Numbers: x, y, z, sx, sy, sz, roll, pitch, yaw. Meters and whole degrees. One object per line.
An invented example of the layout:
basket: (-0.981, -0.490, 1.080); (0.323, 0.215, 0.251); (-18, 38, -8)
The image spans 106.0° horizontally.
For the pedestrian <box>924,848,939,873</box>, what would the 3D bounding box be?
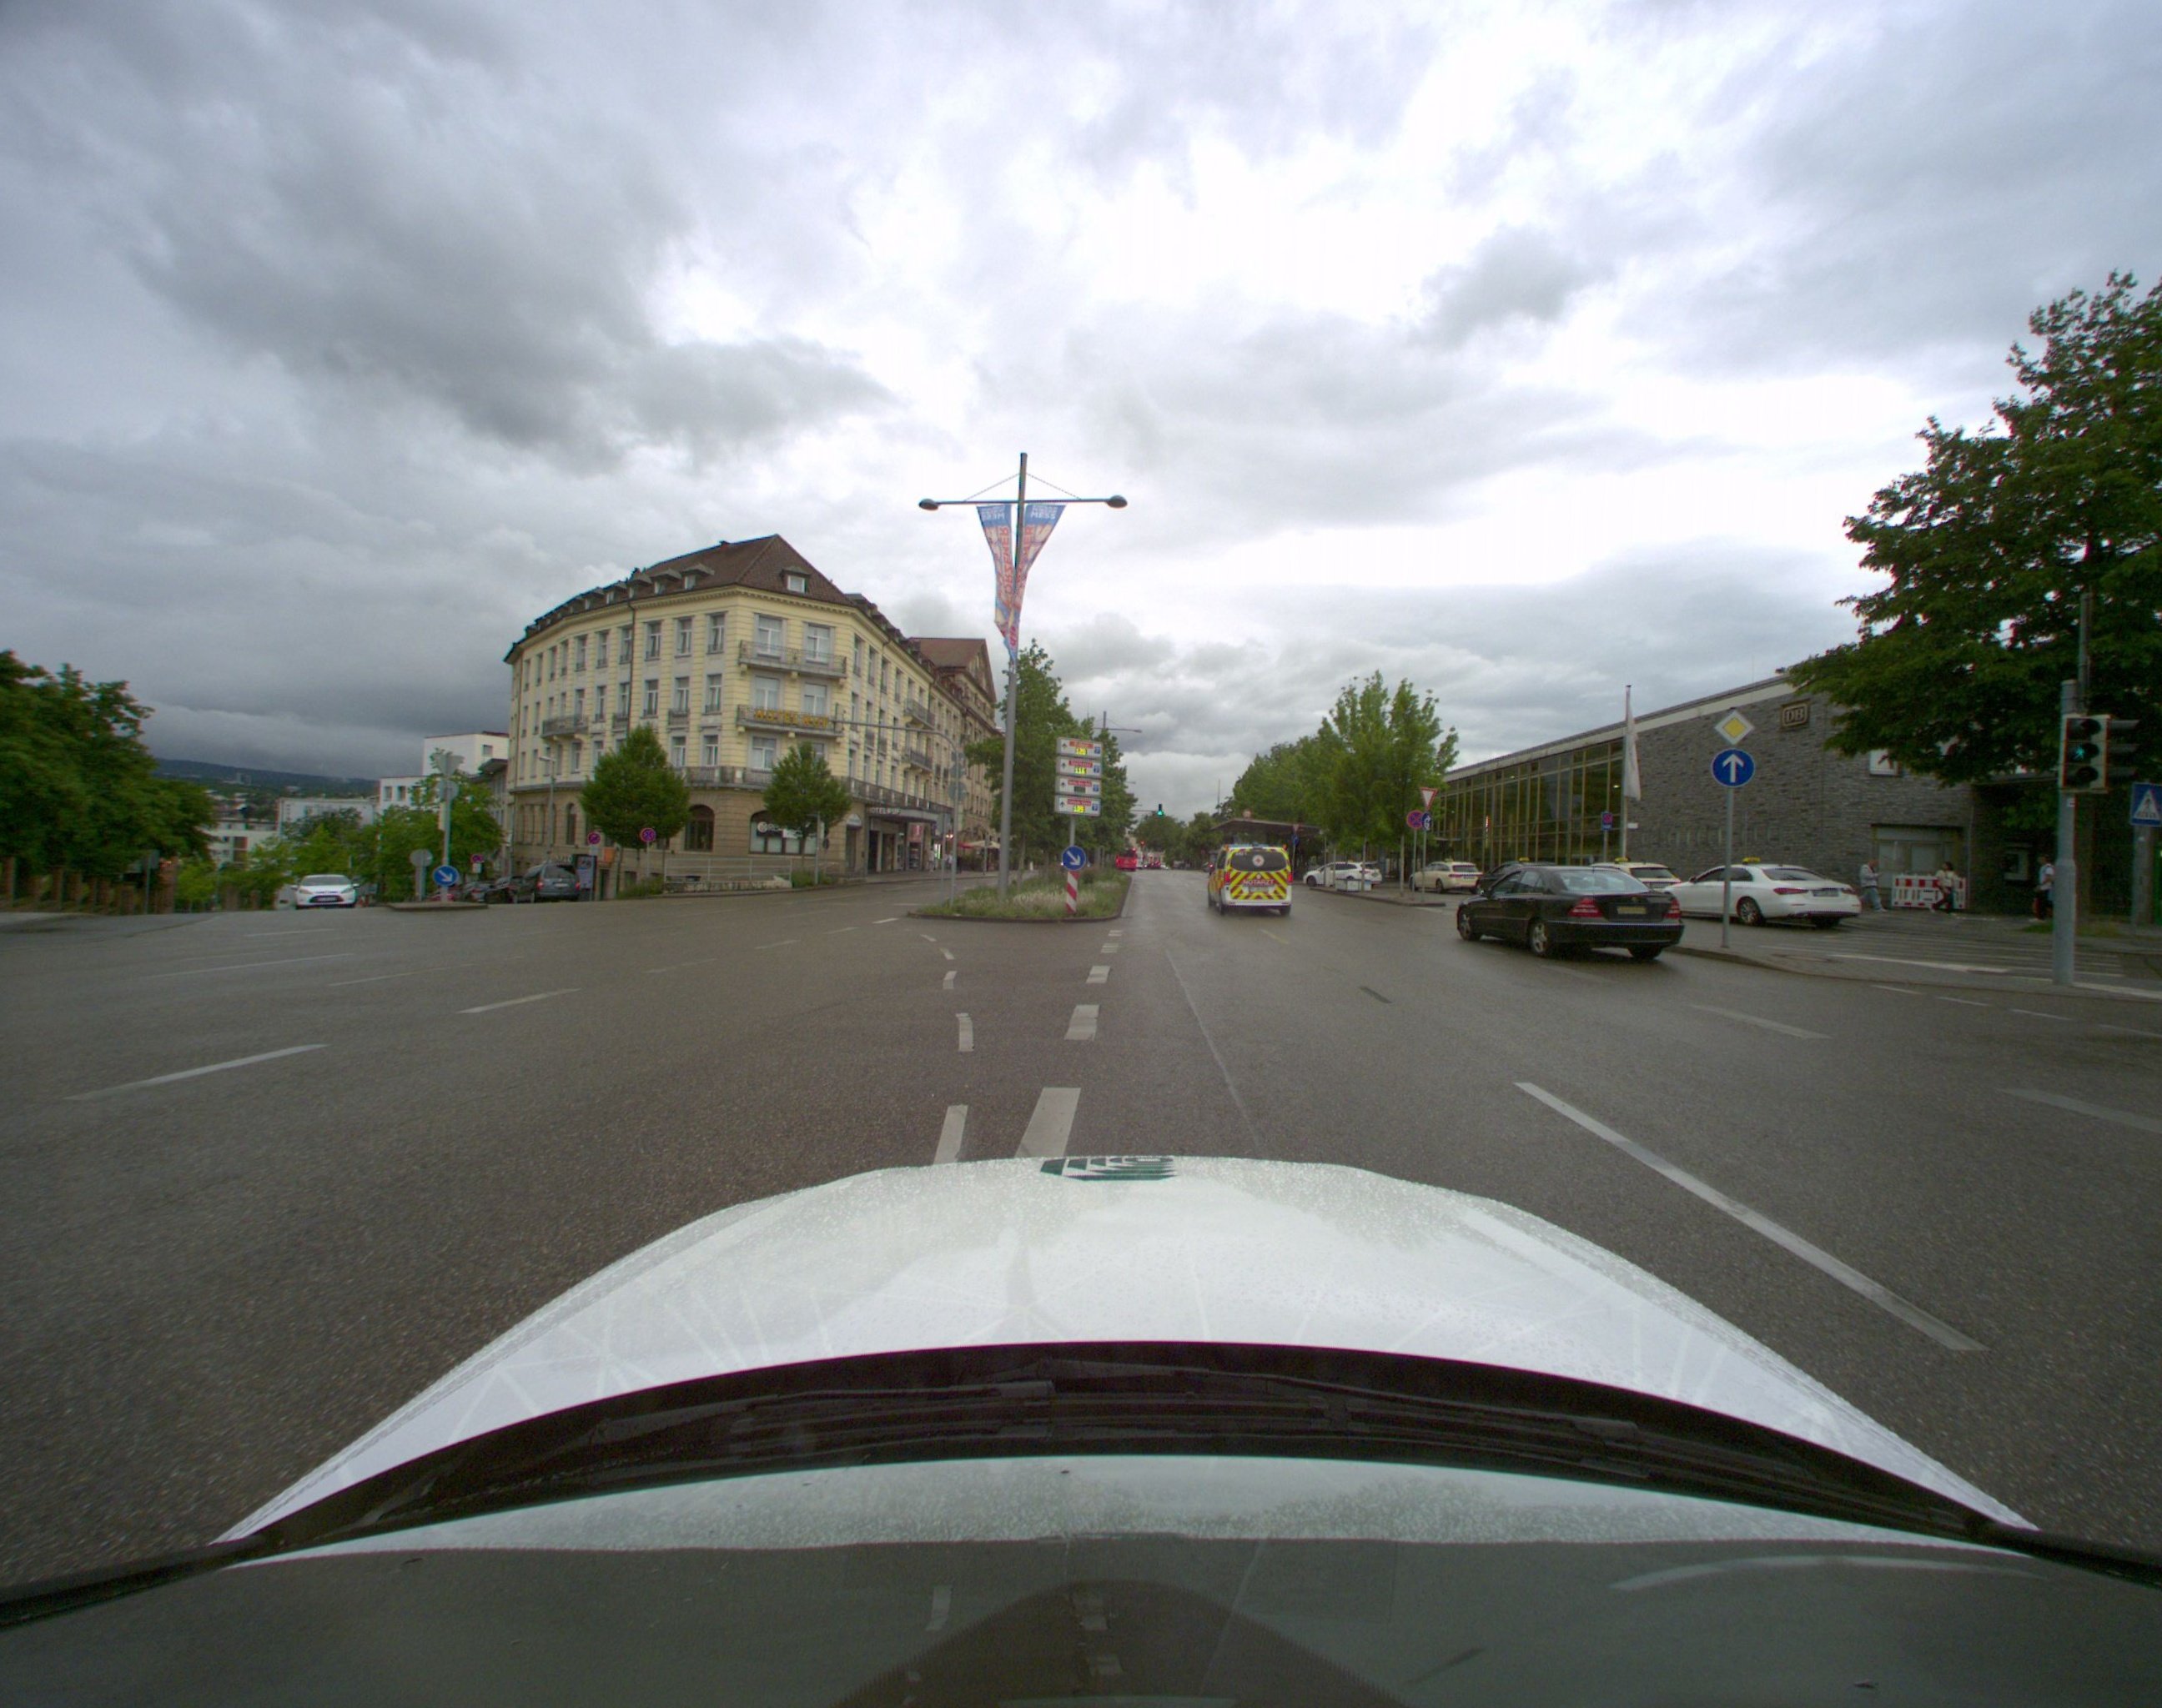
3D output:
pedestrian: (-11.002, 0.472, 59.880); (0.875, 1.813, 0.751); (0, -1, 4)

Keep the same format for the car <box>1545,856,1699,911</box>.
car: (17.131, 0.869, 26.147); (1.984, 1.599, 4.964); (0, 0, 5)

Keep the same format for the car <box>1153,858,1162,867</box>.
car: (17.266, 1.978, 183.283); (1.984, 2.014, 4.005); (0, -1, 5)

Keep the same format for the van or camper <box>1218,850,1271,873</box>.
van or camper: (19.481, 0.874, 97.057); (5.972, 2.763, 2.182); (0, -1, -23)

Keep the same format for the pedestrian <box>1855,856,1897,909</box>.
pedestrian: (23.983, 0.856, 24.579); (0.701, 1.580, 0.776); (-1, -1, 30)

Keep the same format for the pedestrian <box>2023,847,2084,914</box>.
pedestrian: (24.816, 0.669, 20.786); (0.645, 1.667, 0.772); (0, -2, -18)

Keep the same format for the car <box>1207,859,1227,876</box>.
car: (13.303, 1.309, 80.058); (1.848, 1.569, 4.009); (1, -1, 8)

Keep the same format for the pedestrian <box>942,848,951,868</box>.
pedestrian: (-11.735, 0.352, 71.100); (0.665, 1.664, 0.536); (0, -1, -4)

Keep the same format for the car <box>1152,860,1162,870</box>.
car: (15.729, 2.301, 167.775); (1.984, 2.014, 4.005); (0, -1, 5)

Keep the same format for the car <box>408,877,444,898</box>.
car: (-51.374, 2.603, 63.856); (1.780, 1.478, 3.950); (0, -1, -44)

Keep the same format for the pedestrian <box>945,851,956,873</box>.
pedestrian: (-9.980, 0.610, 62.303); (0.678, 1.664, 0.808); (-1, -1, 7)

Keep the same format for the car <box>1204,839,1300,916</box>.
car: (4.827, 0.648, 23.748); (1.985, 2.014, 5.065); (0, -1, 3)

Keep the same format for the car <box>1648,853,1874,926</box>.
car: (16.722, 0.817, 20.449); (1.871, 1.599, 4.909); (0, -1, 5)

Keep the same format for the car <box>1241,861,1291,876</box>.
car: (17.395, 1.335, 76.654); (4.193, 1.325, 1.830); (1, -1, -16)

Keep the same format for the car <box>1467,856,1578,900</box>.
car: (17.456, 0.892, 32.511); (1.985, 1.599, 4.962); (1, 0, 3)

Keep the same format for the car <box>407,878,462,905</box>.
car: (-38.300, 2.195, 48.202); (3.958, 1.478, 1.781); (-1, -1, 40)

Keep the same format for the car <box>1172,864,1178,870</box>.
car: (27.221, 3.697, 235.318); (1.587, 1.561, 3.654); (0, -1, 5)

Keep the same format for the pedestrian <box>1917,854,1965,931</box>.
pedestrian: (24.807, 1.101, 23.484); (0.799, 2.164, 0.716); (0, -1, -27)

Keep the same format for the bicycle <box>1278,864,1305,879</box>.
bicycle: (14.831, 1.235, 57.389); (1.819, 1.056, 0.421); (0, -1, 4)

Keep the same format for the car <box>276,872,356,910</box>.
car: (-30.265, 1.424, 32.208); (3.948, 1.398, 1.645); (-1, -1, 37)

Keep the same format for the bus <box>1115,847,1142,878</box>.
bus: (6.626, 1.186, 112.269); (3.529, 3.980, 11.183); (0, -1, 4)

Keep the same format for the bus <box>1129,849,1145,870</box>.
bus: (10.158, 1.054, 148.958); (2.794, 3.747, 10.452); (0, -1, 3)

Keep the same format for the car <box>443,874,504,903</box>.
car: (-33.324, 1.866, 44.628); (3.948, 1.478, 1.781); (-1, -1, 40)

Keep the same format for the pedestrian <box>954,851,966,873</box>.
pedestrian: (-9.239, 0.593, 62.197); (0.678, 1.664, 0.808); (0, -1, 4)

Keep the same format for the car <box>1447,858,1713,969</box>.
car: (7.665, 0.828, 13.103); (1.688, 1.466, 4.454); (0, -1, 2)

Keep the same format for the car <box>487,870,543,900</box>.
car: (-28.957, 1.553, 41.625); (3.950, 1.398, 1.644); (0, 0, 44)

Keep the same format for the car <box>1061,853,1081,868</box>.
car: (-1.286, 0.877, 108.247); (1.983, 2.014, 5.009); (-1, -1, 6)

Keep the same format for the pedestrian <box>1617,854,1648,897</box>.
pedestrian: (21.527, 0.838, 31.781); (0.726, 1.626, 0.788); (1, -1, -40)

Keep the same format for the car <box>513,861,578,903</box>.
car: (-24.437, 1.220, 37.120); (3.950, 1.759, 1.644); (0, 0, 44)

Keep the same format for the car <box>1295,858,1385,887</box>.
car: (14.445, 0.999, 45.721); (1.771, 1.546, 4.725); (1, -1, -35)

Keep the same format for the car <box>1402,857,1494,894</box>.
car: (17.392, 0.974, 38.897); (1.989, 1.599, 4.952); (0, 0, -3)
